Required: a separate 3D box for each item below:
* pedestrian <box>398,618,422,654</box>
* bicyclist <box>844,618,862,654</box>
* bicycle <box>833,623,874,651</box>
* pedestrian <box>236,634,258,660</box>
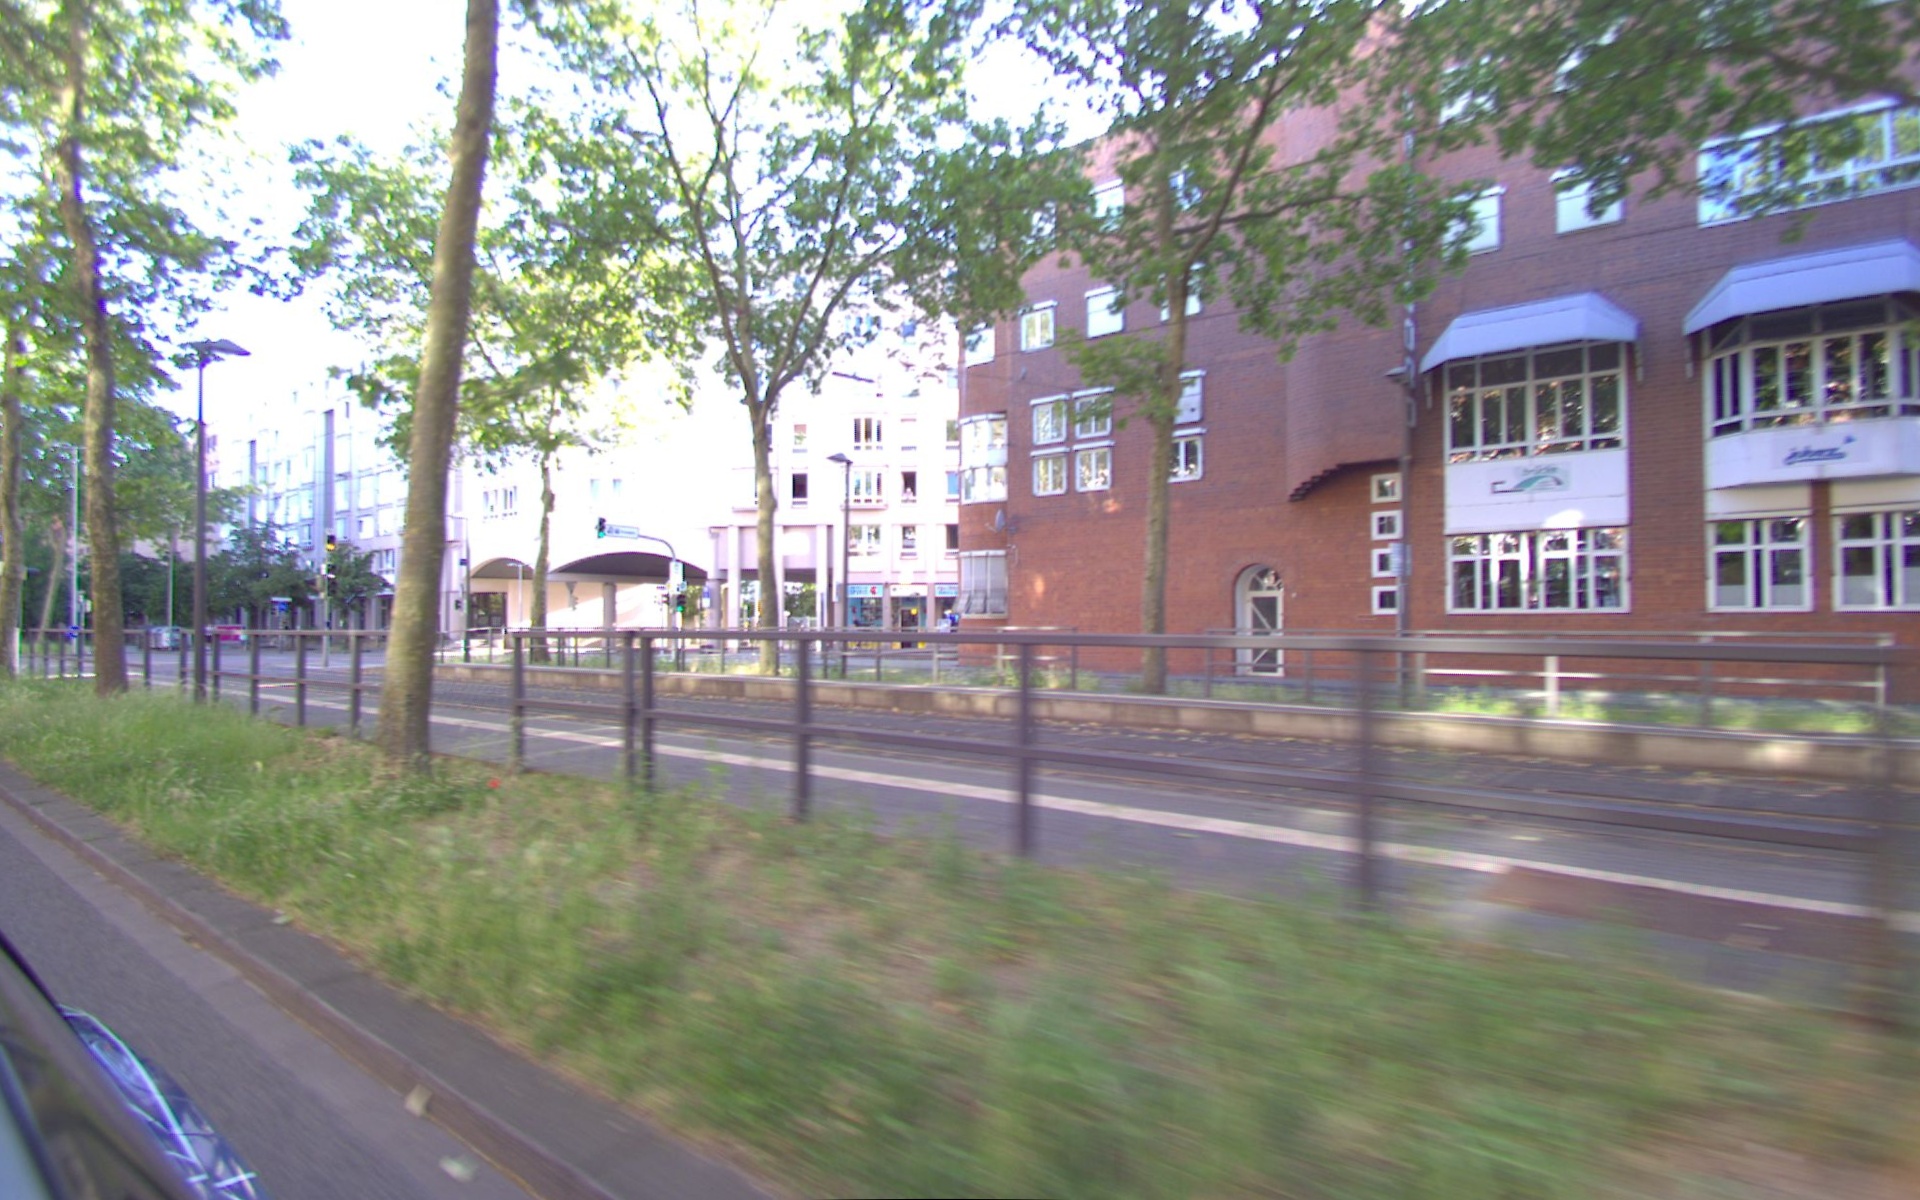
[{"bbox_3d":[-32.067,2.079,58.996,0.876,2.029,0.992,-1,0,45],"label":"pedestrian"},{"bbox_3d":[-5.080,1.713,48.174,0.661,1.661,0.717,-1,0,9],"label":"bicyclist"},{"bbox_3d":[-5.052,1.768,48.172,1.798,1.271,0.772,-1,0,9],"label":"bicycle"},{"bbox_3d":[-45.088,2.965,64.022,0.876,1.613,0.992,-1,0,45],"label":"pedestrian"}]
